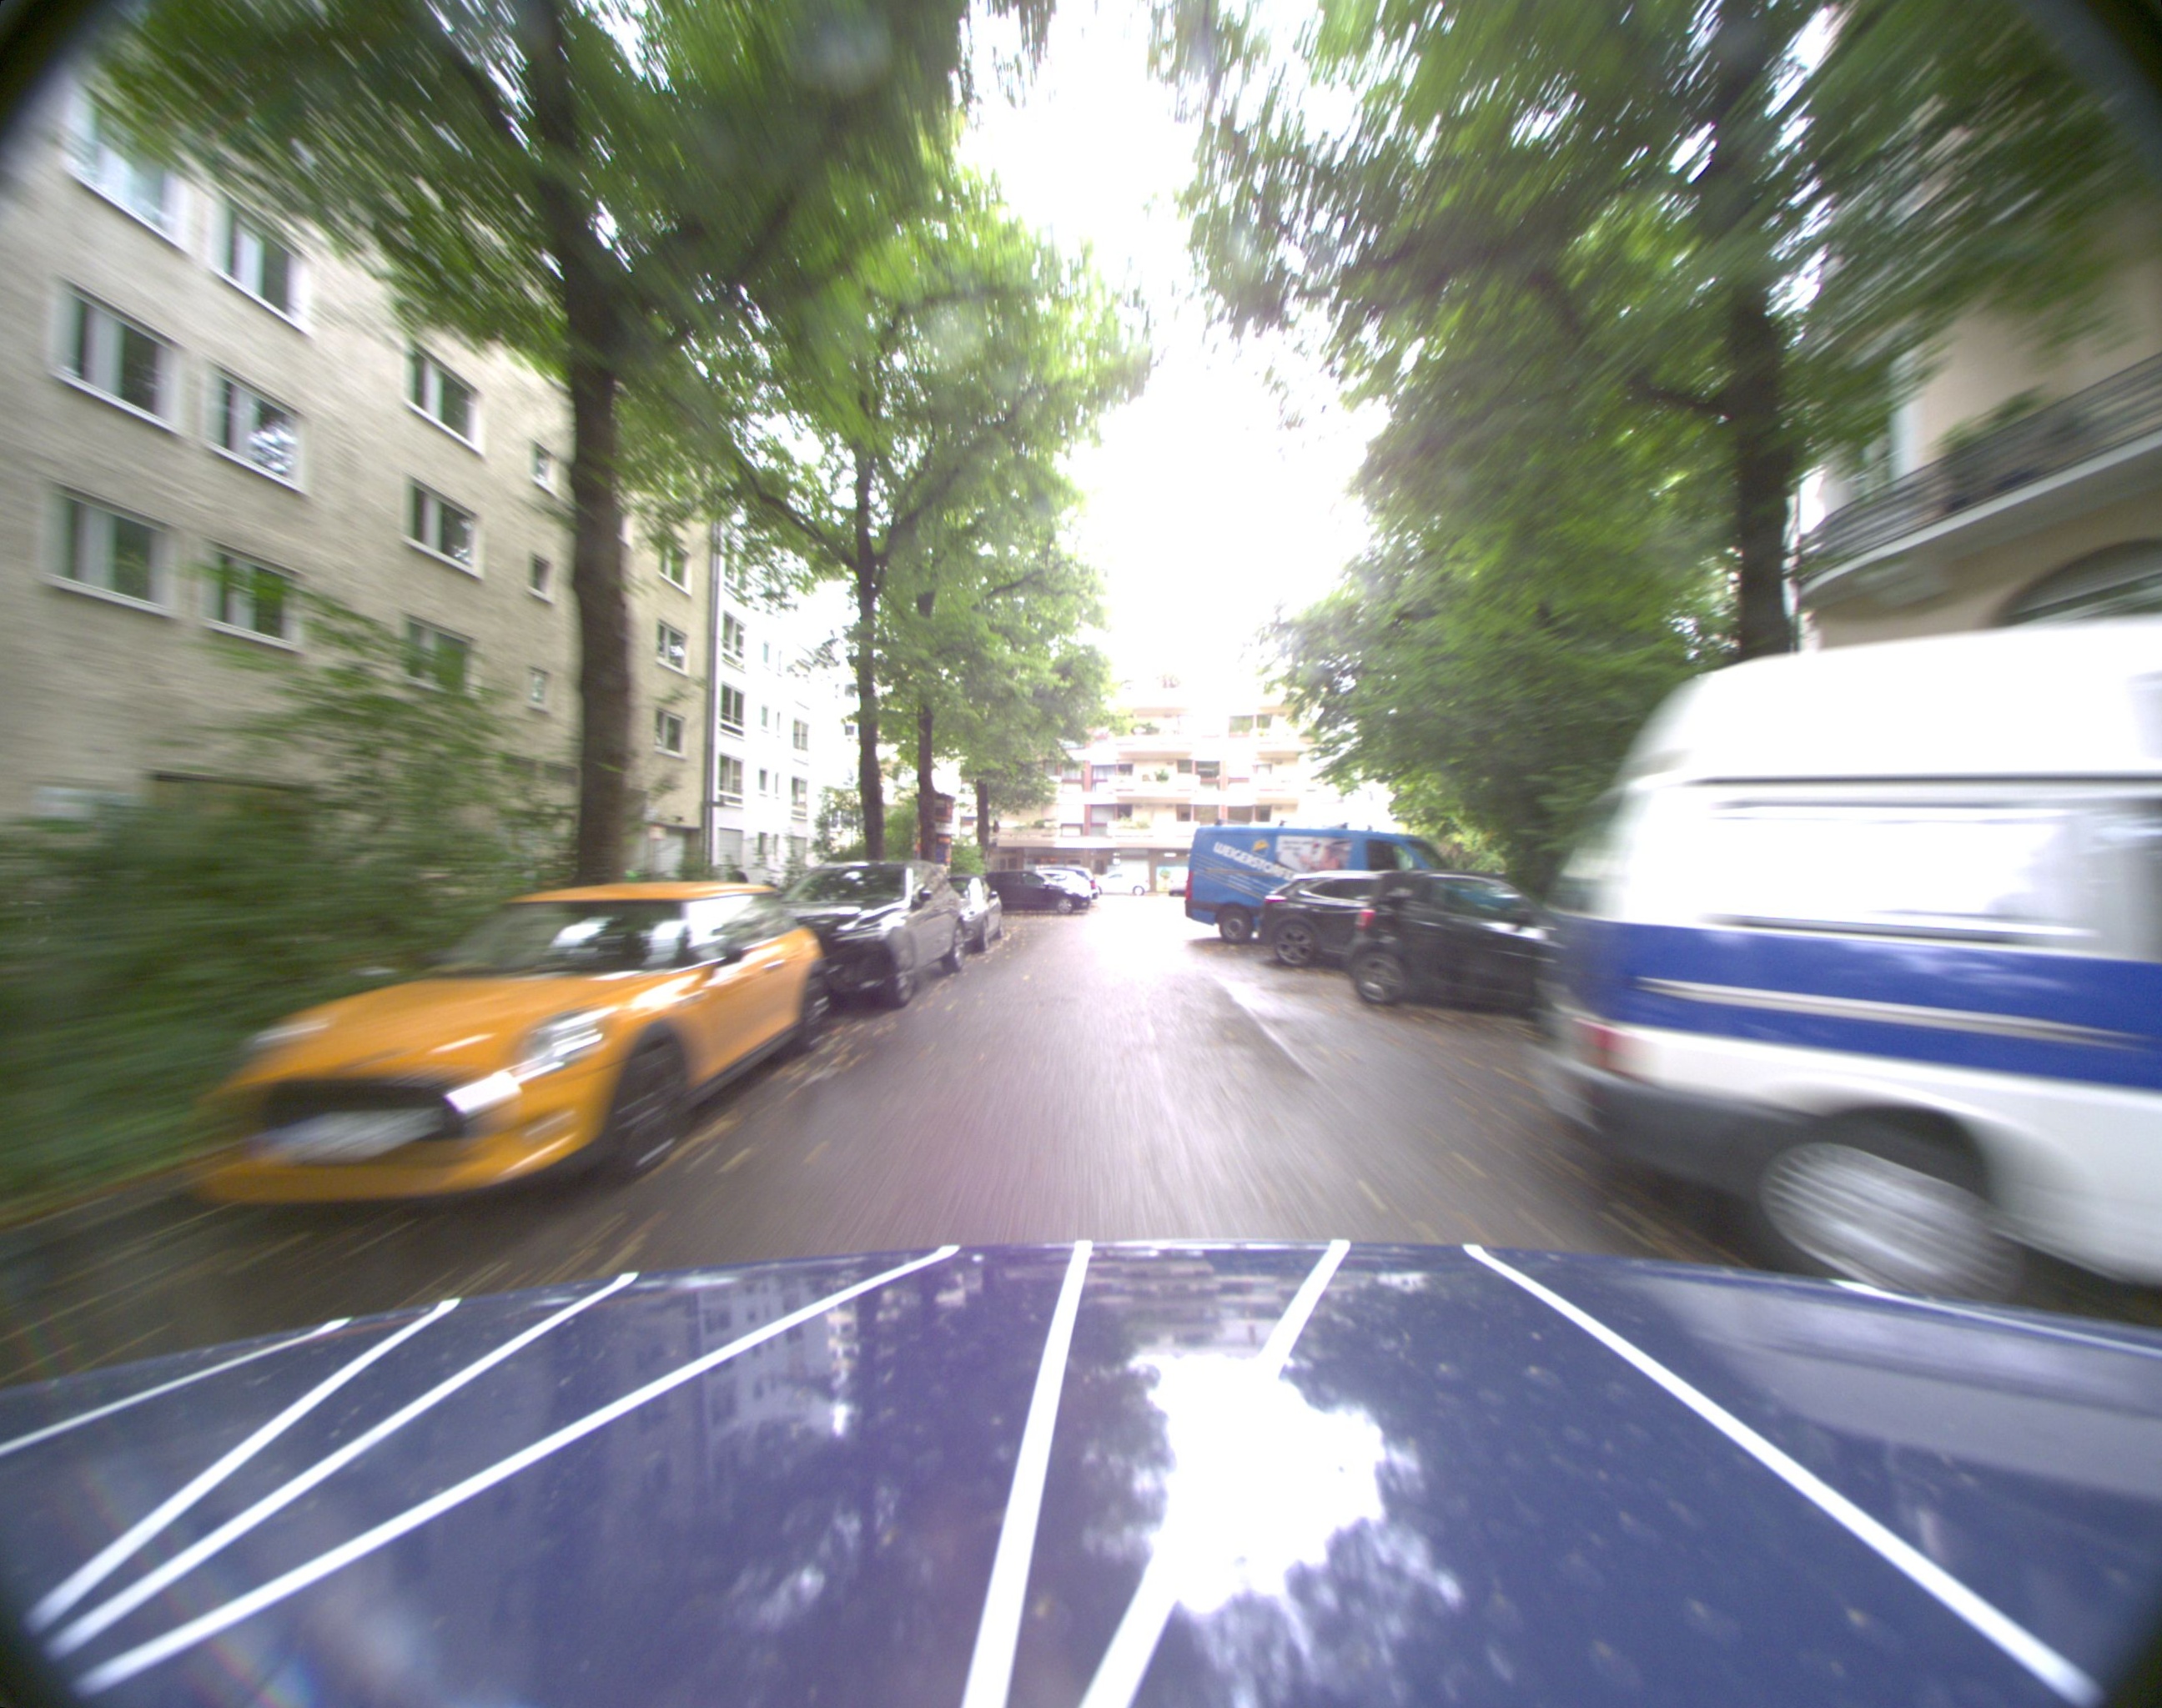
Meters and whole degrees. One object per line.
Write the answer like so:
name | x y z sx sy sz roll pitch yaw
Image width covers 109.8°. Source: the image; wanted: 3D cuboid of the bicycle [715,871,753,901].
bicycle | -12.827 1.185 28.139 0.539 1.017 1.702 4 0 2

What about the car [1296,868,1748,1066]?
car | 4.580 1.005 8.338 3.856 1.551 1.820 2 1 33

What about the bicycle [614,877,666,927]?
bicycle | -10.554 1.129 18.252 0.445 1.117 1.770 0 -1 -8

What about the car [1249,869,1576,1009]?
car | 4.720 1.064 11.123 3.987 1.527 1.820 2 1 41

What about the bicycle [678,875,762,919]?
bicycle | -9.361 1.098 19.763 1.877 1.117 0.540 0 0 -10

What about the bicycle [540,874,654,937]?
bicycle | -9.084 0.942 14.315 1.775 1.117 0.444 1 0 -33

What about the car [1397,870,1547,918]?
car | 13.212 1.289 25.750 4.330 1.375 1.849 1 0 32

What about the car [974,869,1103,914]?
car | -1.357 1.239 25.415 4.091 1.386 1.735 1 0 4

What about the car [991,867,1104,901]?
car | -1.440 1.282 33.026 4.731 1.369 1.960 1 0 -2

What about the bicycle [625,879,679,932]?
bicycle | -9.802 1.139 17.411 0.445 1.117 1.770 0 -1 -8

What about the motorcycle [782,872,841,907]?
motorcycle | -9.465 1.248 26.735 1.807 1.190 0.691 1 0 -5

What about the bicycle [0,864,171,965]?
bicycle | -13.362 0.749 10.105 0.450 1.216 1.677 1 0 2

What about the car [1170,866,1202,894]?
car | 5.923 1.528 42.861 1.719 1.445 4.247 0 -4 8

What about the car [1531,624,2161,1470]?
car | 4.269 0.572 2.557 4.571 2.363 1.909 2 0 27

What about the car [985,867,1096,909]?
car | -1.459 1.216 27.939 3.946 1.439 1.826 1 0 -1

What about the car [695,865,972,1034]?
car | -2.735 0.957 9.636 1.836 1.619 4.527 0 -1 3

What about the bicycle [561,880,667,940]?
bicycle | -9.296 1.092 15.156 1.775 1.117 0.444 1 0 -33

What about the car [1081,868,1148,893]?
car | 2.006 1.554 44.564 3.828 1.412 1.567 0 -3 7

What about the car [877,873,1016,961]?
car | -2.568 1.171 15.604 1.903 1.405 4.430 2 0 2

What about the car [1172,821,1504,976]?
car | 4.676 0.638 14.379 5.478 2.341 2.070 3 1 38

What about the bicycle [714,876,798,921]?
bicycle | -8.230 1.114 19.276 1.877 1.117 0.540 0 0 -10

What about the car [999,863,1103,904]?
car | -1.148 1.145 30.306 3.980 1.546 1.757 1 0 3

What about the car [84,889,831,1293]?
car | -2.989 0.991 4.787 1.622 1.404 3.780 0 -1 -1
